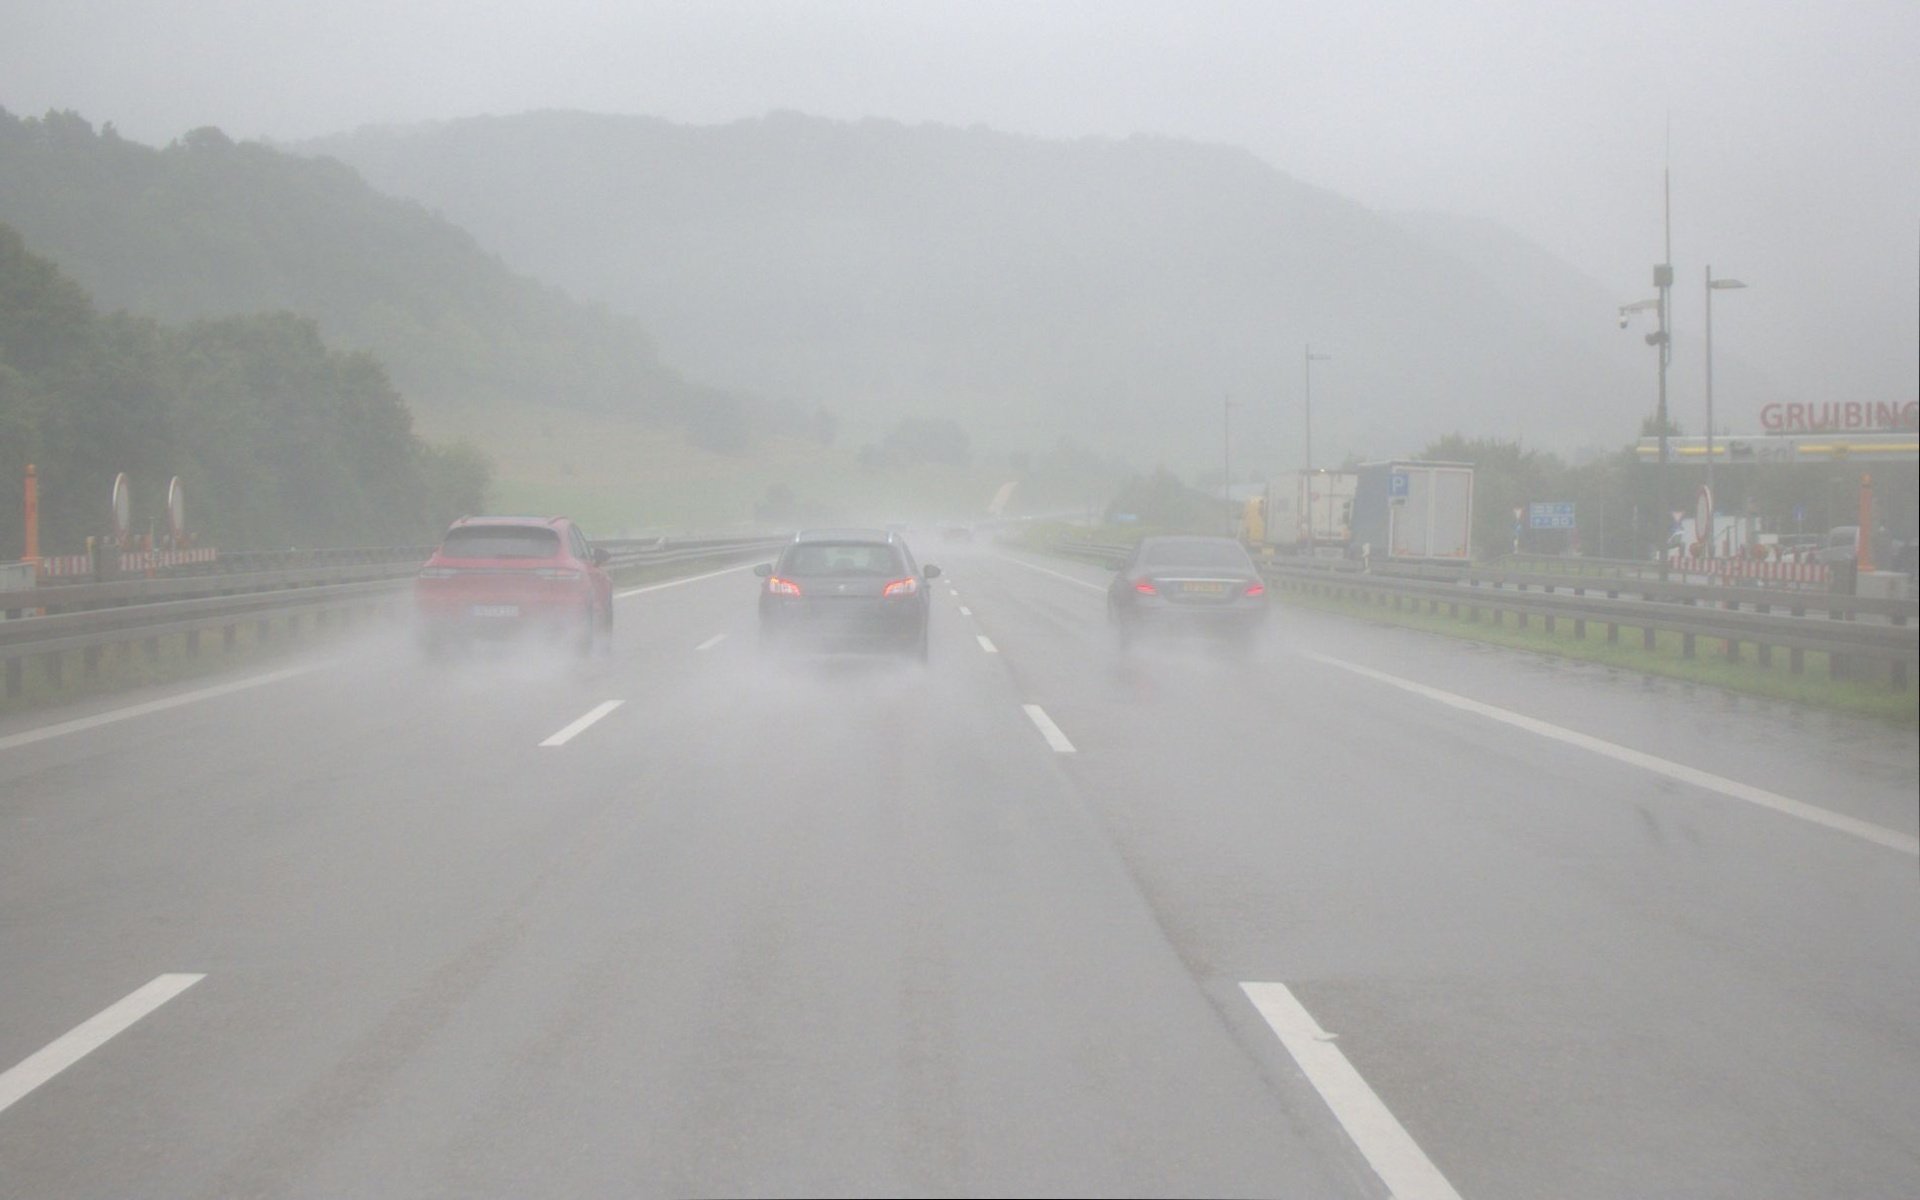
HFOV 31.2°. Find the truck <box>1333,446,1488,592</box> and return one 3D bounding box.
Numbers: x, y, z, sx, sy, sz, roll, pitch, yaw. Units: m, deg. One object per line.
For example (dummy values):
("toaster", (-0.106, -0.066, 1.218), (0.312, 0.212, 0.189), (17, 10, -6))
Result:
("truck", (14.449, -2.632, 111.264), (3.401, 4.387, 11.050), (2, 1, 0))

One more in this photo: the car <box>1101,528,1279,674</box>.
("car", (2.889, -0.031, 43.941), (1.971, 1.754, 4.000), (0, 1, 0))

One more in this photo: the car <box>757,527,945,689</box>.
("car", (-1.107, 0.046, 36.734), (1.859, 1.584, 4.000), (1, 1, 0))

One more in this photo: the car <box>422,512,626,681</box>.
("car", (-4.901, -0.084, 39.097), (1.884, 1.809, 4.001), (0, 1, -1))

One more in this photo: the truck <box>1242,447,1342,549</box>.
("truck", (14.256, -4.337, 148.363), (3.527, 4.205, 7.816), (1, 1, 1))

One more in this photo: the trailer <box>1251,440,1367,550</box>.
("trailer", (14.236, -4.222, 141.338), (3.516, 4.247, 11.921), (1, 1, 0))
